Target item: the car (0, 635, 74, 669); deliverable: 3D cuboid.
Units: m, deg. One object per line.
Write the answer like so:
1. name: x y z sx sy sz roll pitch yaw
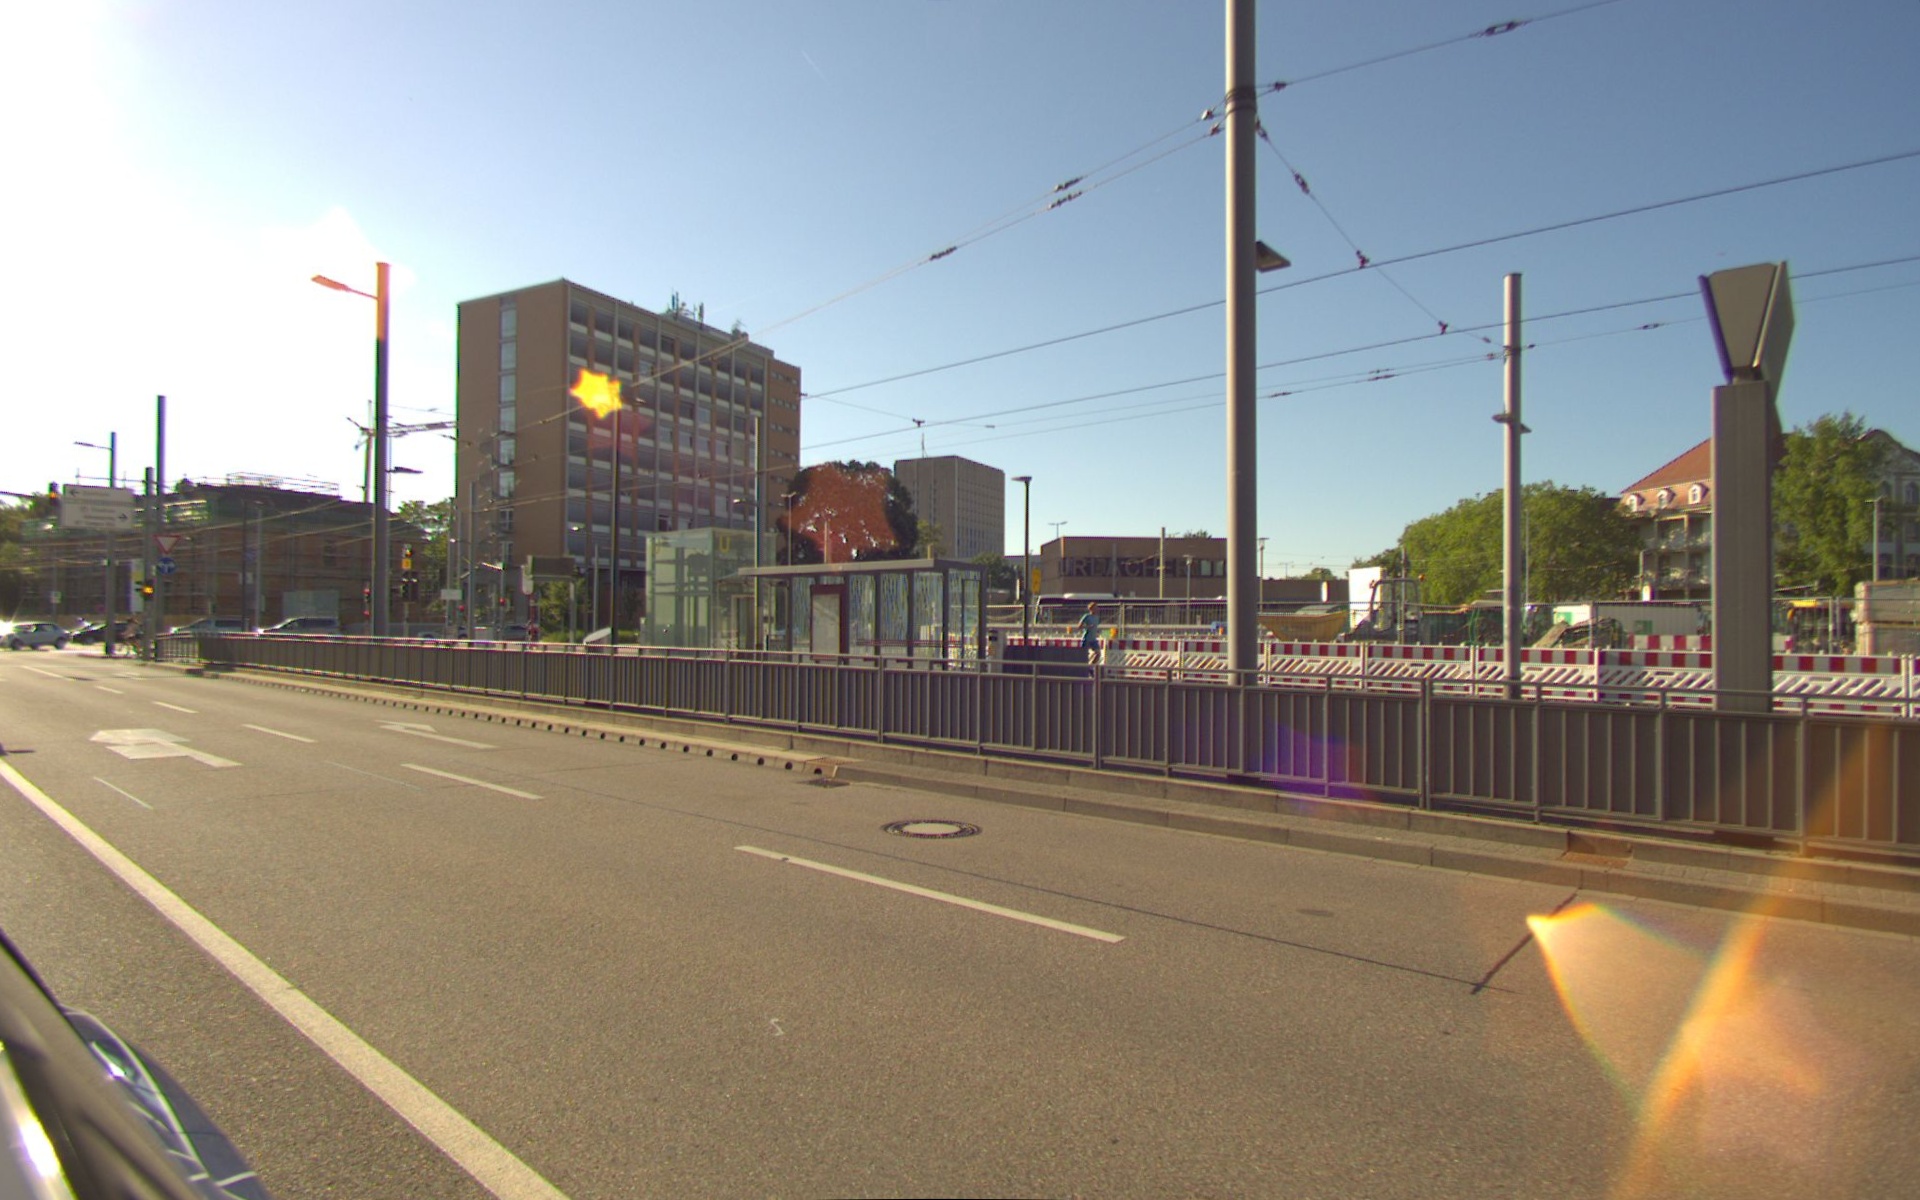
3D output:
1. car: -49.303 2.686 52.953 1.975 1.689 4.277 0 -2 5

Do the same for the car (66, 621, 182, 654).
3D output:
1. car: -54.038 2.453 65.516 5.676 2.029 2.003 2 -6 -41

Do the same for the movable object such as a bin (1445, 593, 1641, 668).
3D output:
1. movable object such as a bin: 13.903 0.786 24.296 3.862 1.599 1.161 -5 -6 40

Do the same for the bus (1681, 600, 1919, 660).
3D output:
1. bus: 50.557 1.820 60.758 12.467 3.219 3.255 -1 -4 -5

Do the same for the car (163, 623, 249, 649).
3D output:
1. car: -53.149 2.532 71.419 4.626 1.697 2.006 1 -5 -30

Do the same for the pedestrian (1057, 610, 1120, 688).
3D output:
1. pedestrian: 3.012 1.169 23.784 1.179 1.782 0.793 -5 -6 41

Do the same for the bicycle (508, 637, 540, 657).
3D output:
1. bicycle: -23.320 2.515 54.126 2.002 0.949 0.804 -1 3 43

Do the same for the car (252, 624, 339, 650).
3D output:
1. car: -44.715 2.453 68.163 4.549 1.701 2.001 2 -2 -45

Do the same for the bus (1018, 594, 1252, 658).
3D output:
1. bus: 9.685 1.466 56.647 12.467 3.219 2.844 -1 -4 -5

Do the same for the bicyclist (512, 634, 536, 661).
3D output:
1. bicyclist: -23.322 2.514 54.121 0.902 1.354 0.804 -1 3 43

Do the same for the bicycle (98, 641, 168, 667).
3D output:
1. bicycle: -31.316 2.029 38.328 0.814 0.949 1.872 -1 -3 36

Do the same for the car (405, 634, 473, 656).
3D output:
1. car: -41.866 3.623 81.386 4.628 1.697 2.005 2 -5 -34

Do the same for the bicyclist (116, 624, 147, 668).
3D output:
1. bicyclist: -31.345 1.747 38.294 0.814 1.629 0.668 -1 -3 36

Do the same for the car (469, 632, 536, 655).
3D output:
1. car: -36.621 3.473 81.030 4.628 1.697 2.005 2 -5 -34

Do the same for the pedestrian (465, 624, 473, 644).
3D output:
1. pedestrian: -41.807 2.915 86.180 0.496 1.648 0.428 3 -6 -42

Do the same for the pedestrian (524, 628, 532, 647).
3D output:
1. pedestrian: -40.157 3.450 94.080 0.614 1.725 0.487 0 -5 -14

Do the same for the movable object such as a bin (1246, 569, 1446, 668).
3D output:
1. movable object such as a bin: 11.214 0.647 29.592 5.137 2.545 2.614 -3 -5 23
